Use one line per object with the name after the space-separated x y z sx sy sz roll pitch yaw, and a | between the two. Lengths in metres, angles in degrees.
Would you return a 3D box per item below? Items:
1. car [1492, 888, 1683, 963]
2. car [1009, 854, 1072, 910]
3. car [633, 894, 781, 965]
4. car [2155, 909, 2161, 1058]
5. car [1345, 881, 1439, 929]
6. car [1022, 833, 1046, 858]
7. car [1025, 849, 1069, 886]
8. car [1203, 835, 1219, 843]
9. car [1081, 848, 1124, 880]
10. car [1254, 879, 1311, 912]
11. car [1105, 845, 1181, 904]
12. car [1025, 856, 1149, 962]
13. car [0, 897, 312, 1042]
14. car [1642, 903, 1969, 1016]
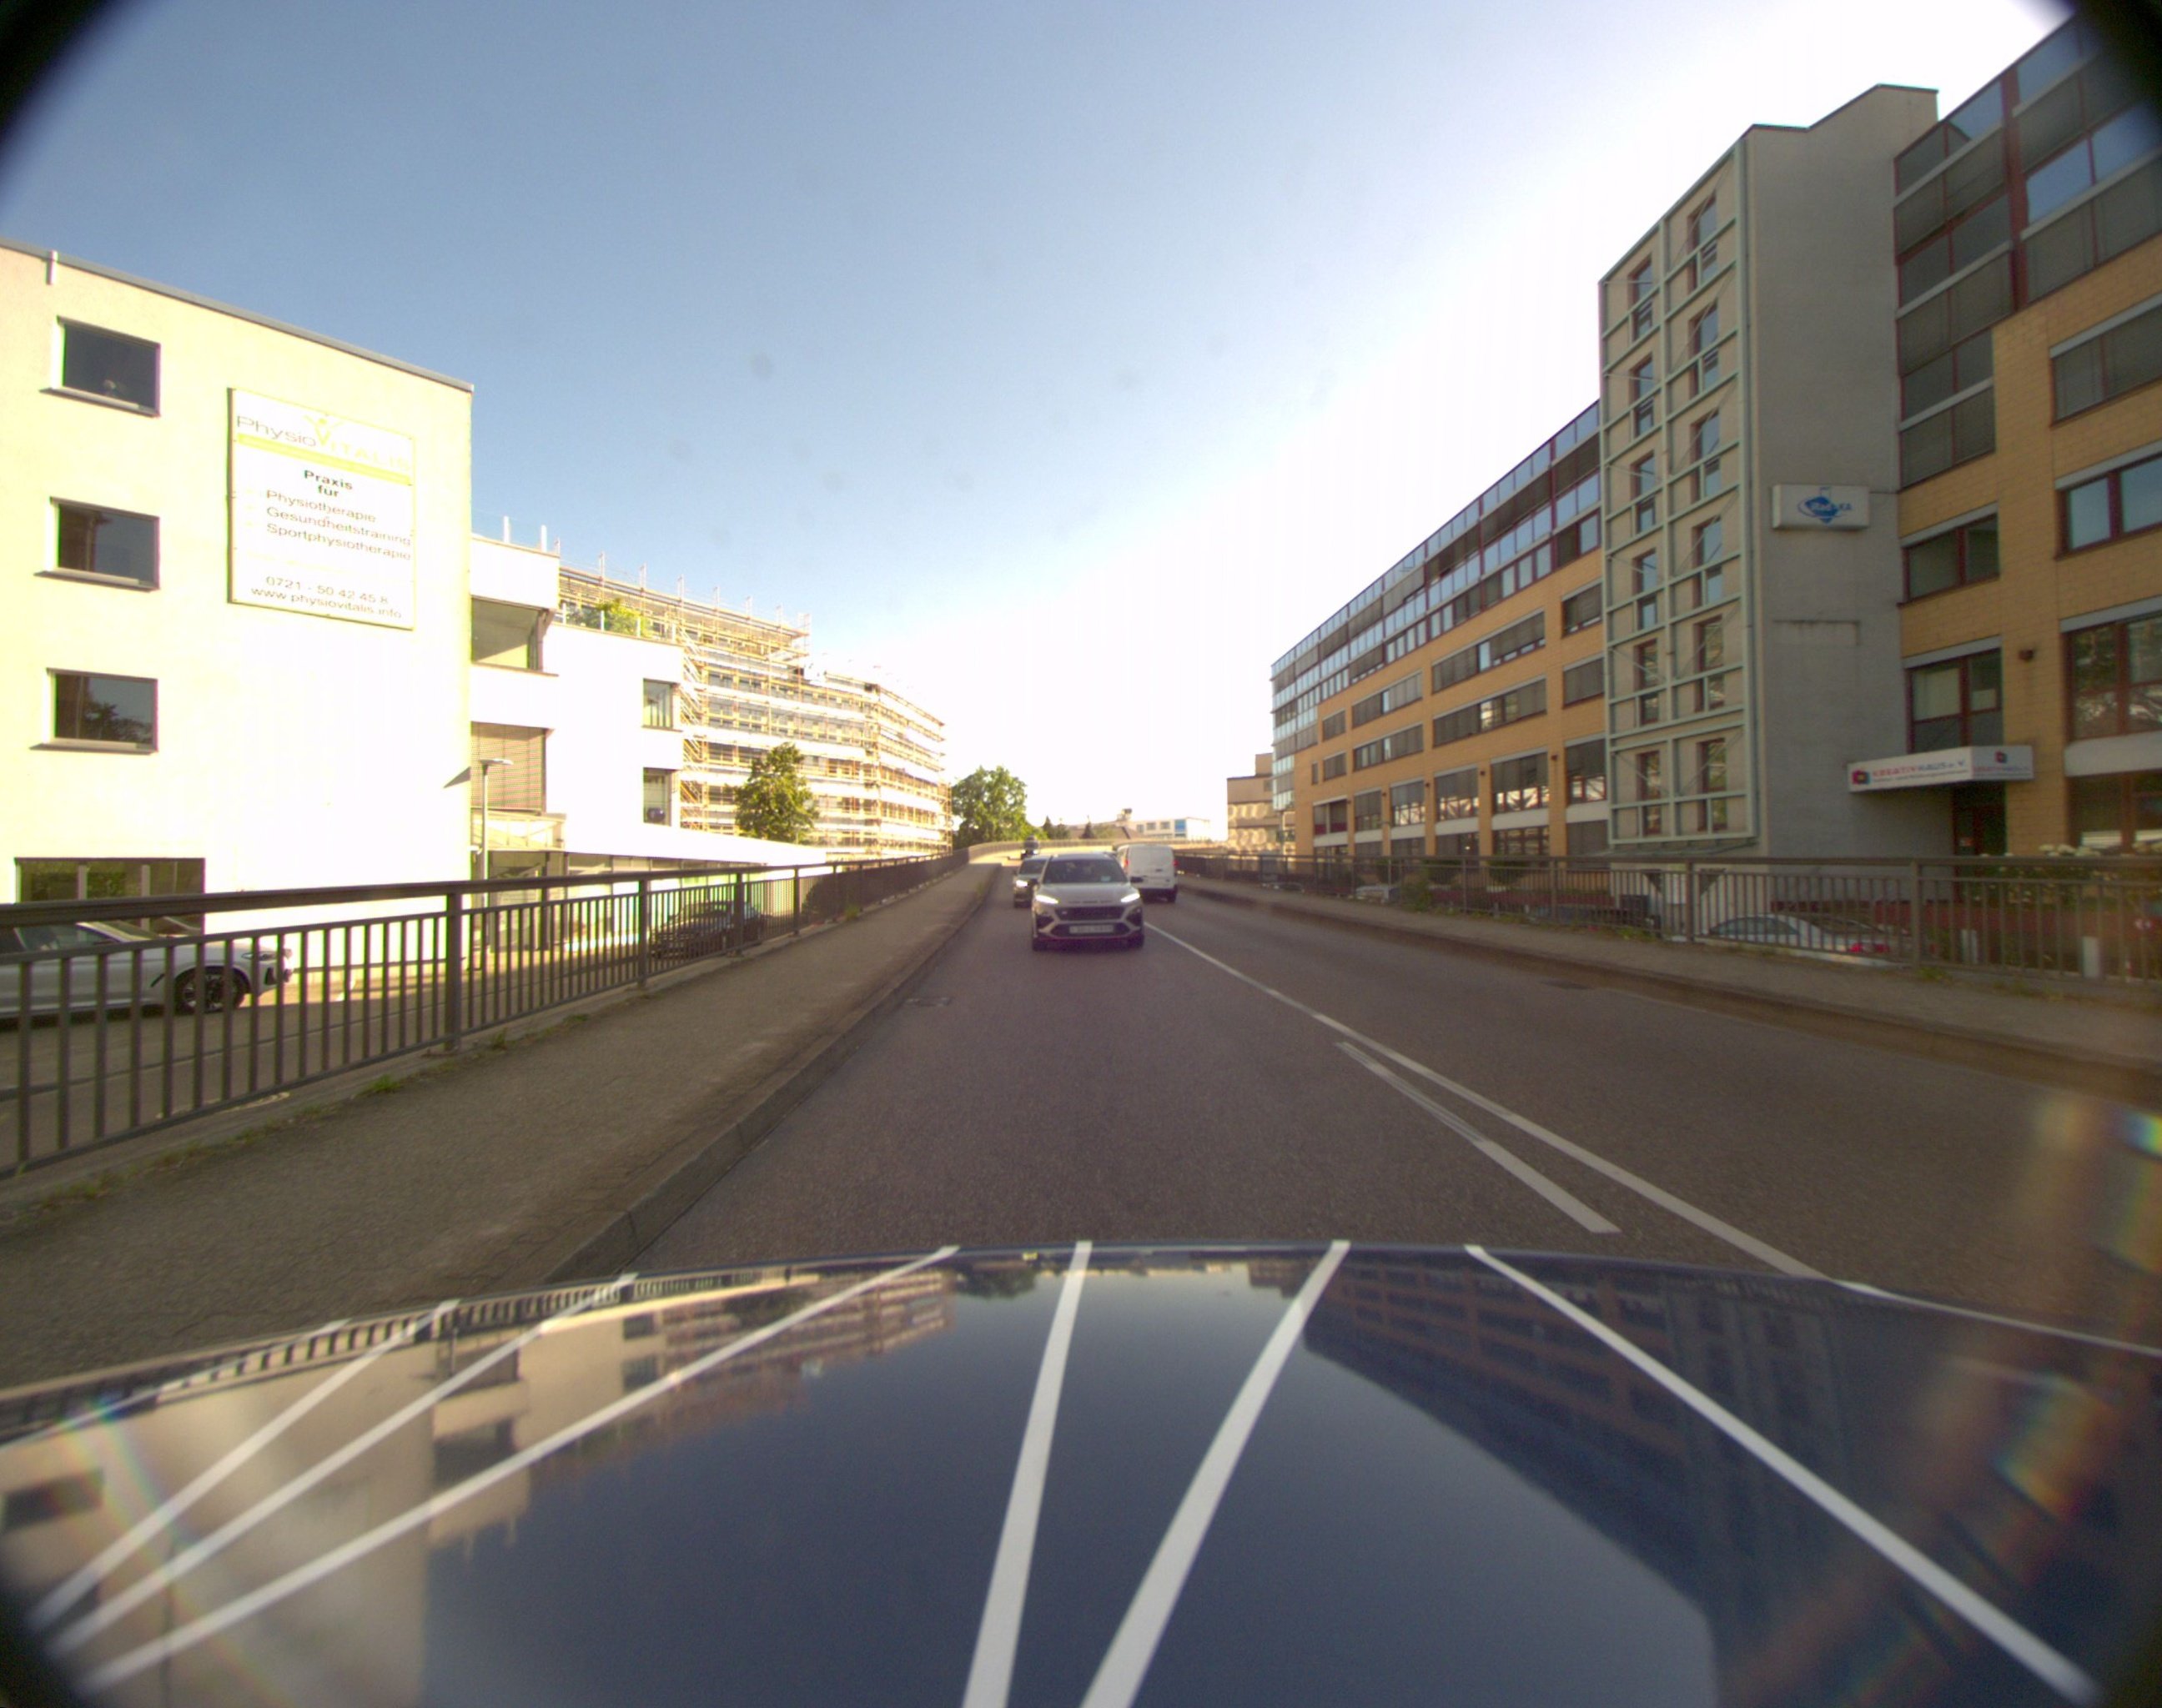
12.952 1.763 19.814 1.825 1.594 4.355 0 -1 -5 | car
-1.212 0.801 23.451 1.721 1.483 4.168 -2 1 -2 | car
-10.304 2.018 21.404 1.849 1.422 4.681 -2 1 -1 | car
13.894 1.454 6.720 1.956 1.747 4.686 -2 -1 -6 | car
12.219 1.960 30.151 1.999 1.714 4.000 0 -1 -2 | car
-4.510 -0.824 73.116 1.909 2.202 4.596 -1 3 0 | car
-1.606 0.565 34.501 1.850 1.526 4.506 -2 1 -4 | car
26.327 -3.003 154.101 1.821 1.594 4.007 -1 0 30 | car
1.090 0.492 40.045 1.825 1.594 3.998 0 0 -5 | car
11.086 2.268 42.088 1.999 1.652 4.000 0 -1 -2 | car
1.967 0.675 25.649 1.815 1.790 5.119 0 -1 -4 | car
-0.011 0.851 13.670 1.849 1.561 4.220 -1 0 -3 | car
-15.153 1.722 11.596 4.658 1.757 1.823 -2 1 -42 | car
13.274 1.824 14.391 1.825 1.594 4.355 0 -1 -5 | car
